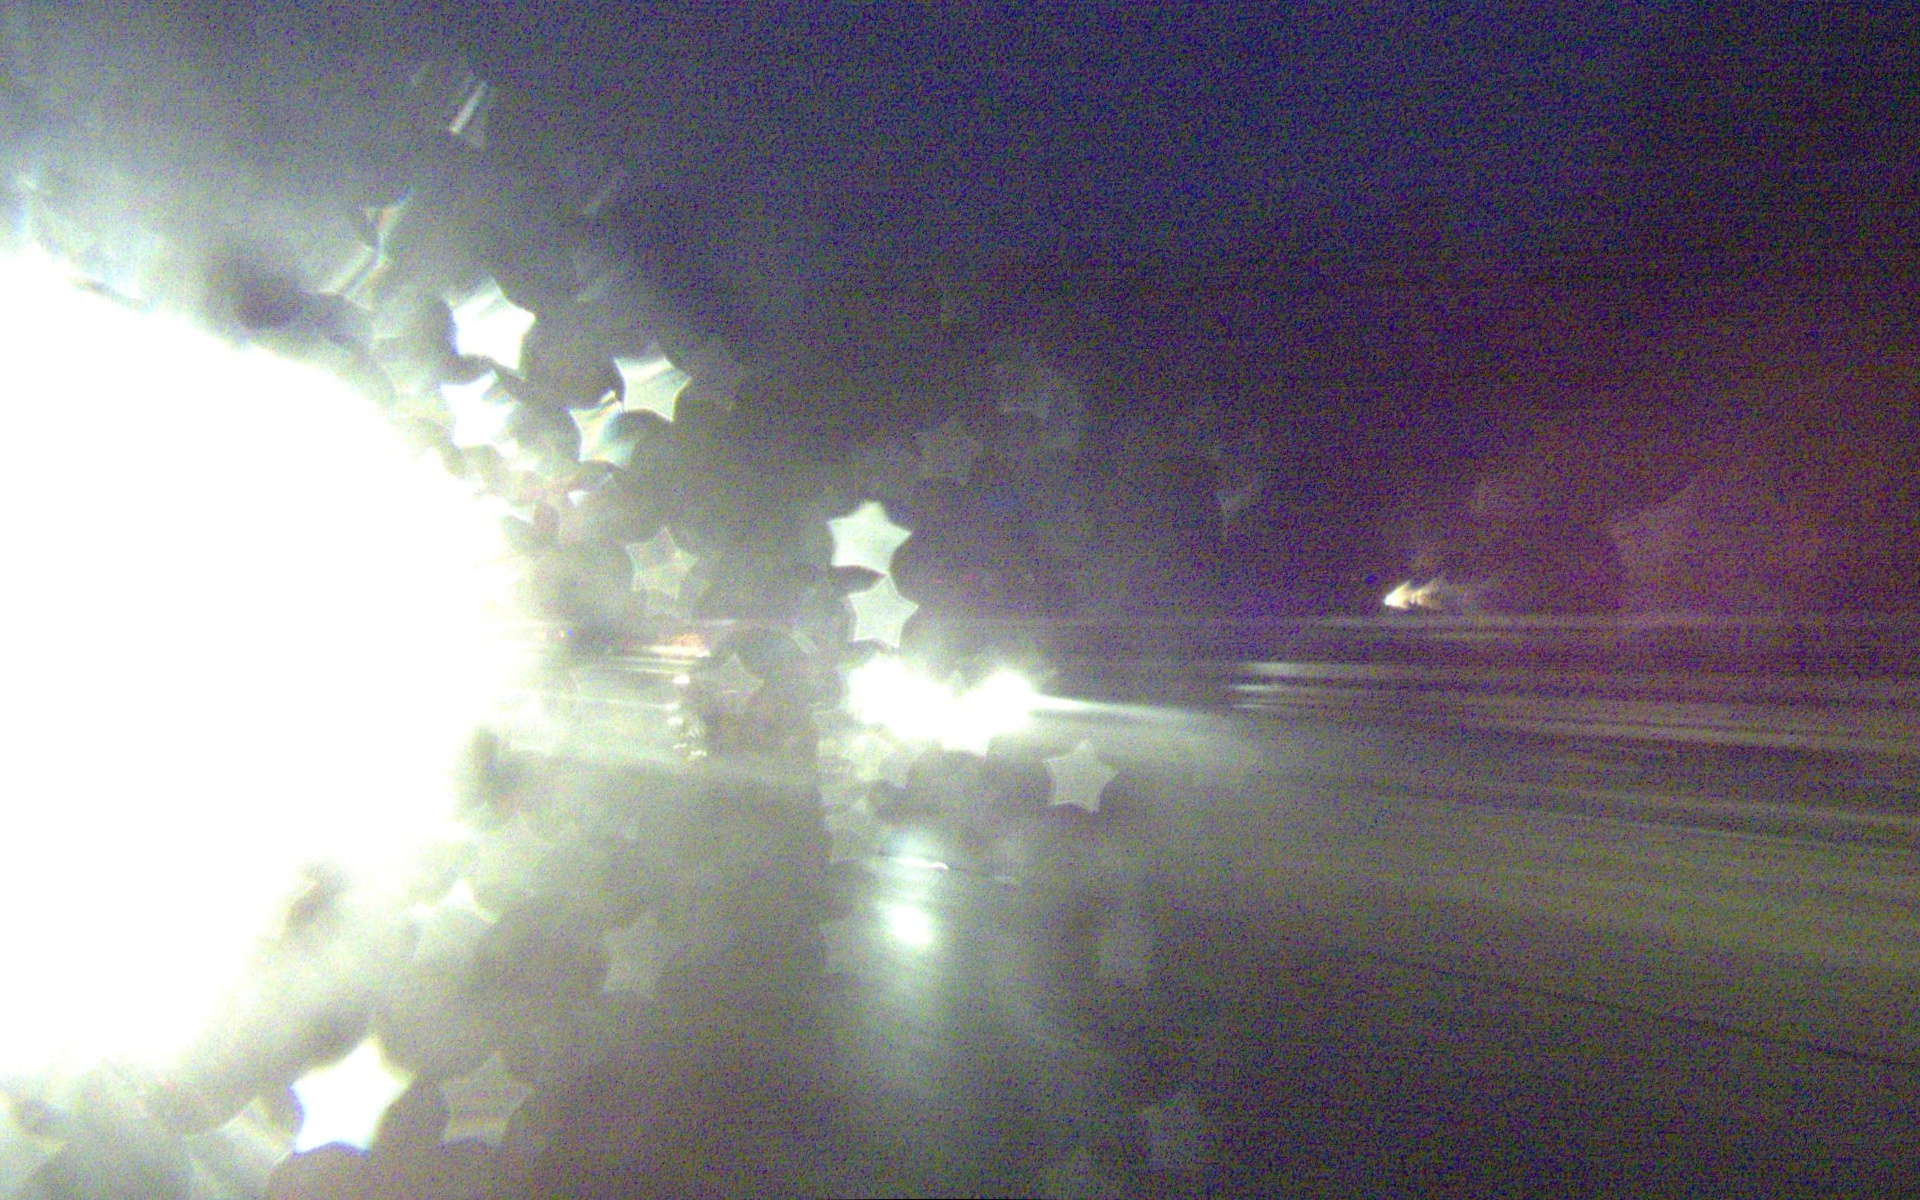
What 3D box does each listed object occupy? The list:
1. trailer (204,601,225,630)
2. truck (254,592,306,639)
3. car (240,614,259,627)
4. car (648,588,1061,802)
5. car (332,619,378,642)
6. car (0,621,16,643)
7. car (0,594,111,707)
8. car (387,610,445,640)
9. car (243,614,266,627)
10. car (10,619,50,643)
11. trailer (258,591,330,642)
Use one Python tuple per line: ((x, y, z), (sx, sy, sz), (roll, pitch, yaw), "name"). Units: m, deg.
((-121.943, 2.418, 165.472), (2.542, 4.490, 12.520), (-2, 1, -37), "trailer")
((-52.519, 1.151, 78.125), (2.574, 3.483, 4.645), (-2, 1, -44), "truck")
((-107.698, 3.090, 153.422), (1.969, 1.741, 4.006), (-2, 1, -41), "car")
((-1.117, 0.755, 9.403), (3.847, 1.587, 1.632), (-2, -1, 41), "car")
((-48.115, 2.401, 80.449), (3.994, 1.726, 1.814), (-1, 1, 38), "car")
((-93.286, 3.125, 98.180), (3.997, 2.028, 1.974), (-2, 2, 40), "car")
((-19.089, 0.996, 21.164), (1.729, 2.121, 4.466), (0, -1, -44), "car")
((-27.444, 1.249, 51.042), (3.243, 1.352, 1.586), (0, 3, 43), "car")
((-94.978, 2.756, 136.242), (1.875, 1.655, 4.201), (-2, 1, -43), "car")
((-82.113, 2.733, 89.348), (3.997, 2.028, 1.974), (-2, 2, 40), "car")
((-49.242, 1.134, 74.643), (2.578, 3.498, 10.456), (-2, 1, -43), "trailer")
